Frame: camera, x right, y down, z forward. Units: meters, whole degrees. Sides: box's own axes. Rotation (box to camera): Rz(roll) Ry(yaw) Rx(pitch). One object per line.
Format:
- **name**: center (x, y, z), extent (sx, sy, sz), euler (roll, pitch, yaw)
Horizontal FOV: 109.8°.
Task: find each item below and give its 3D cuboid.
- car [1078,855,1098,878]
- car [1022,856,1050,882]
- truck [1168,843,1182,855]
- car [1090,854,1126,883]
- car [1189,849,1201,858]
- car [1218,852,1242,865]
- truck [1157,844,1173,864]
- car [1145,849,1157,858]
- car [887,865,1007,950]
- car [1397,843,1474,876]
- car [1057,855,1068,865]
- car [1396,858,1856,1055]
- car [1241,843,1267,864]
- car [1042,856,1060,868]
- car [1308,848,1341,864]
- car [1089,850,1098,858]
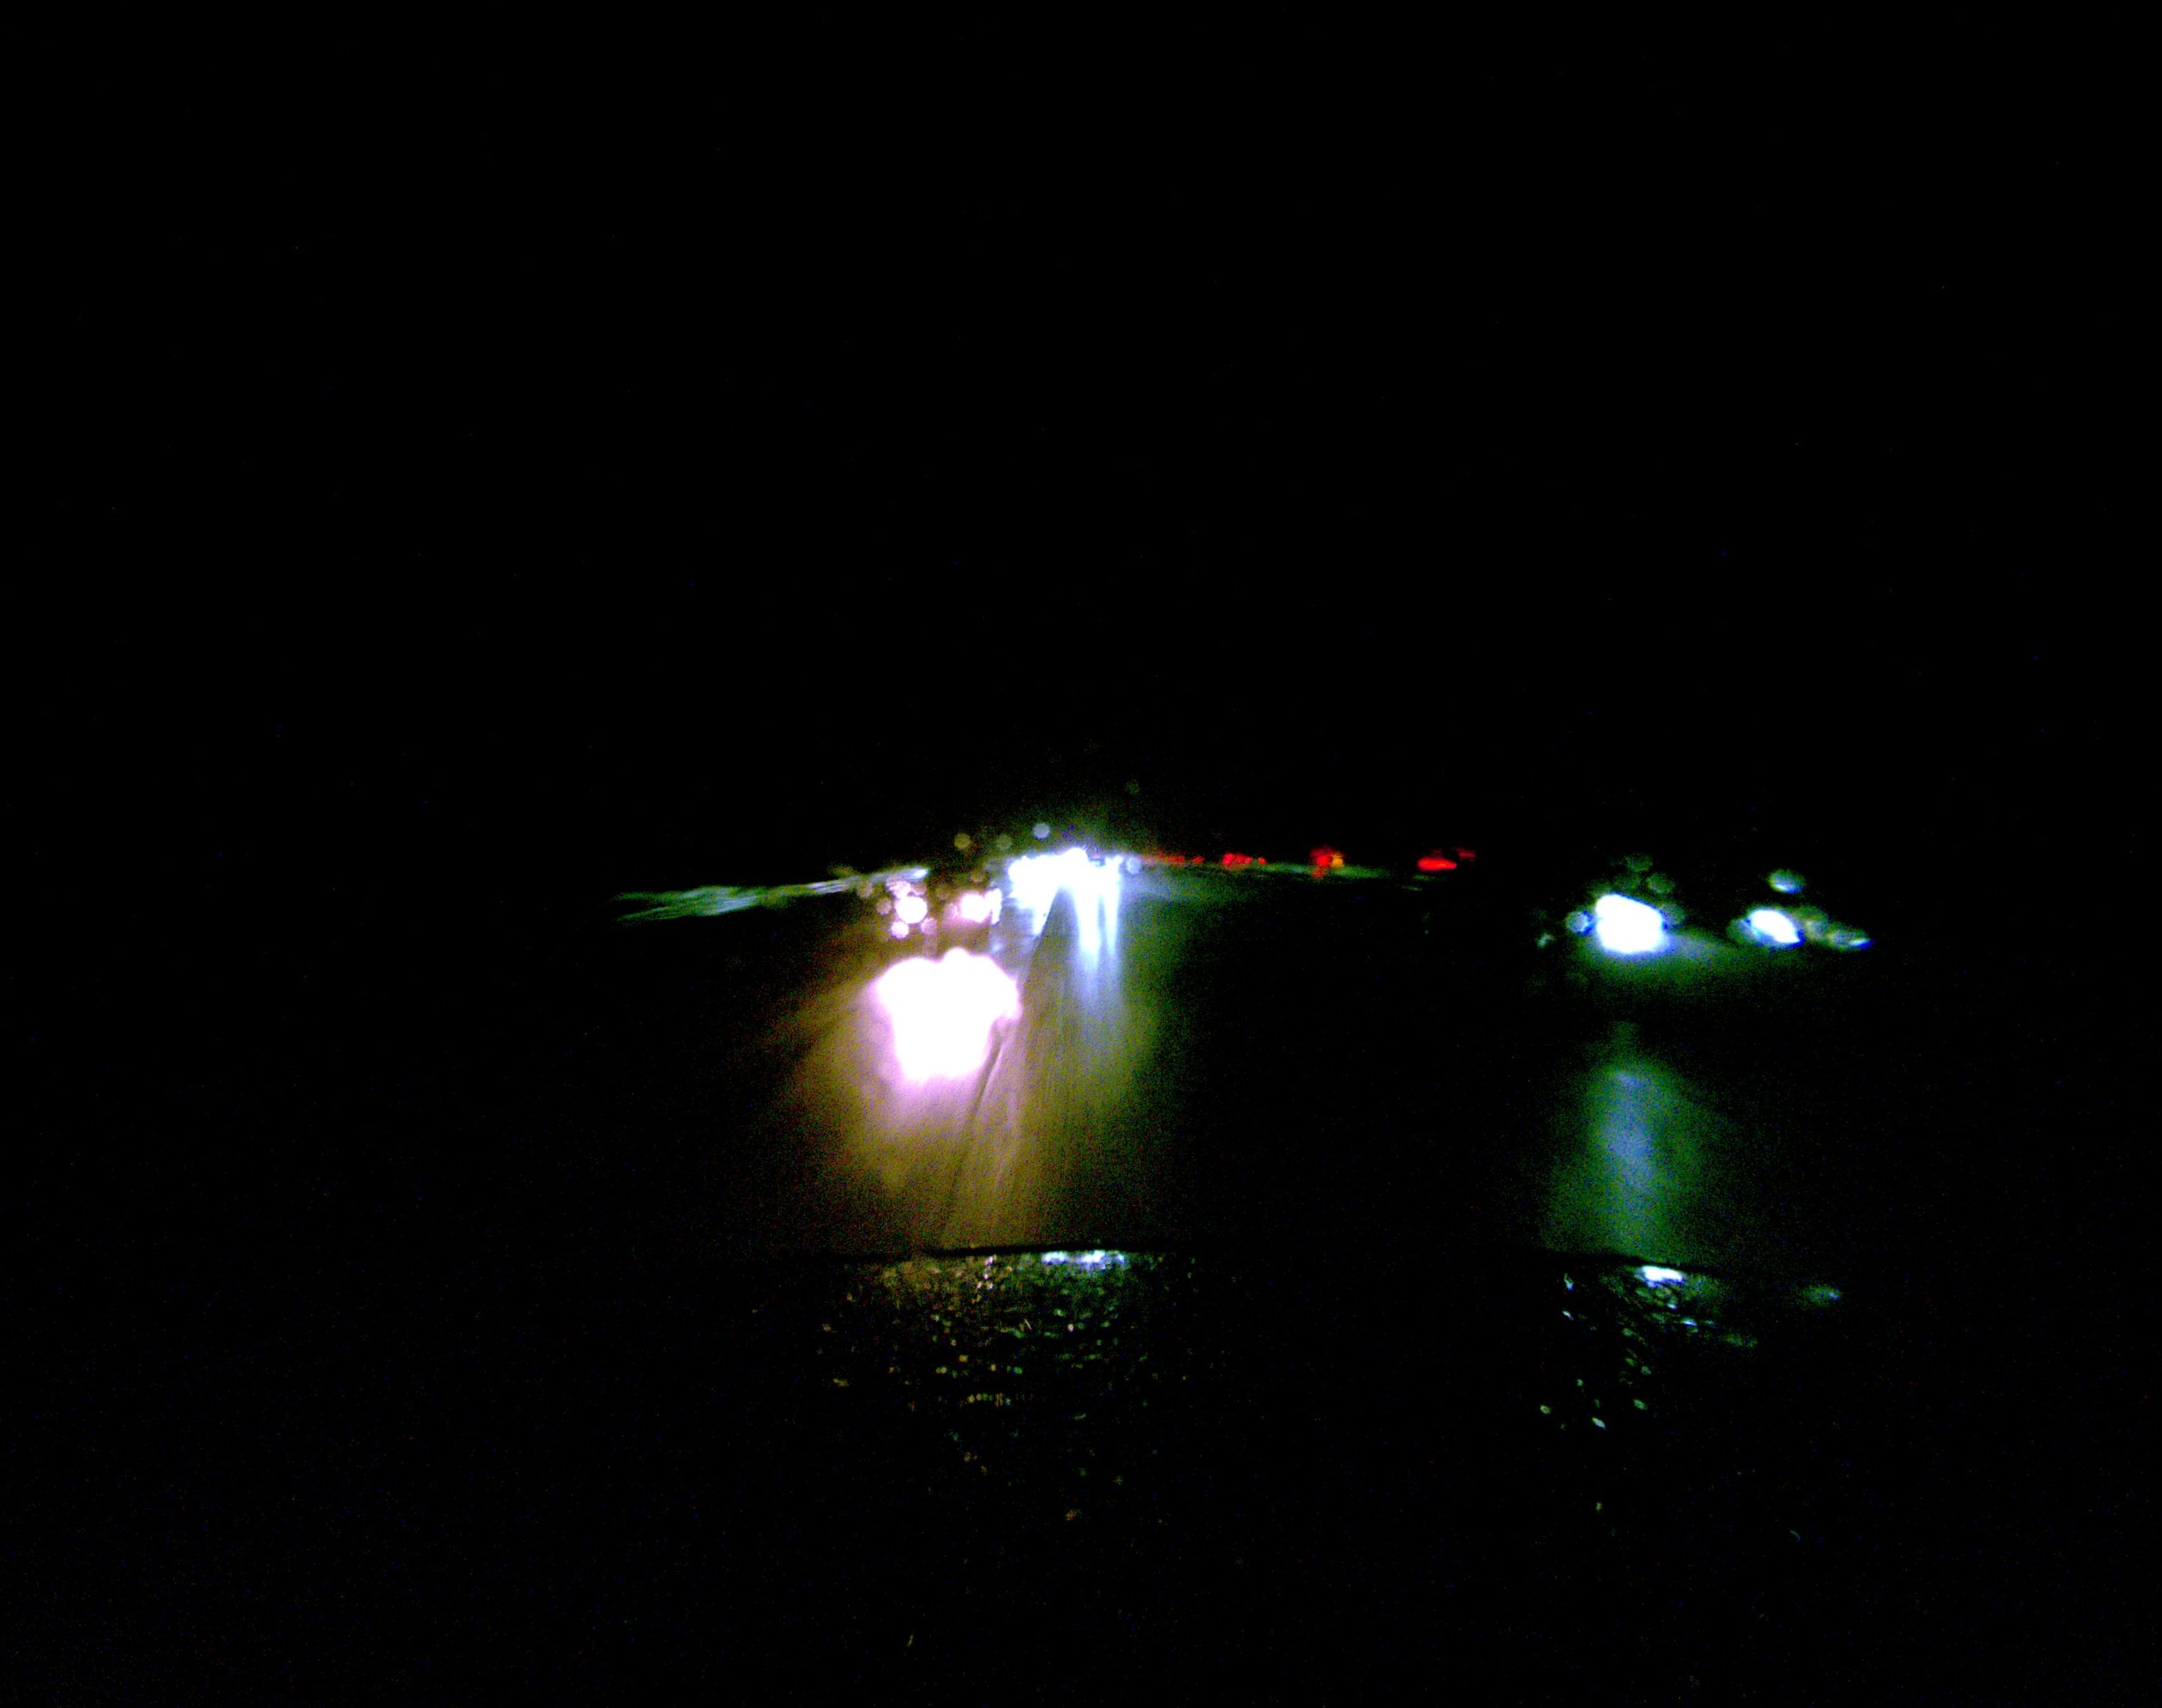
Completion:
- **car**: center (0.604, 1.048, 66.079), extent (1.611, 1.775, 3.910), euler (-2, 1, -1)
- **car**: center (-3.300, 1.081, 56.376), extent (1.793, 1.681, 3.999), euler (-2, 1, -1)
- **truck**: center (23.913, -1.363, 193.810), extent (2.457, 2.982, 6.701), euler (-2, 1, -1)
- **car**: center (1.634, 0.872, 47.234), extent (1.960, 1.655, 4.915), euler (-2, 0, -1)
- **car**: center (23.586, -0.124, 156.978), extent (1.767, 1.663, 3.886), euler (-2, 1, -1)
- **car**: center (16.713, 0.469, 85.214), extent (1.756, 1.386, 4.673), euler (-2, 1, 0)
- **truck**: center (29.015, -0.092, 263.627), extent (3.231, 6.375, 17.300), euler (-2, 1, -1)
- **car**: center (15.855, -0.146, 171.850), extent (1.999, 1.796, 5.164), euler (-2, 1, -1)
- **car**: center (-2.703, 1.027, 16.254), extent (1.774, 1.449, 4.195), euler (-2, 0, 0)
- **car**: center (18.275, 0.249, 39.388), extent (1.811, 1.509, 4.348), euler (-3, 1, -2)
- **car**: center (-3.692, 1.186, 150.447), extent (1.999, 1.852, 3.999), euler (-2, 1, -1)
- **car**: center (5.050, 0.797, 7.925), extent (1.661, 1.422, 4.245), euler (-2, 0, -1)
- **car**: center (20.767, -0.127, 91.593), extent (1.975, 2.387, 4.844), euler (-2, 1, 0)
- **car**: center (-4.096, 1.087, 104.417), extent (1.998, 1.589, 4.652), euler (-2, 1, 1)
- **car**: center (24.484, 0.155, 76.483), extent (1.811, 1.509, 4.348), euler (-3, 1, -2)
- **car**: center (2.793, -0.065, 167.266), extent (1.800, 1.728, 3.999), euler (-2, 1, -1)
